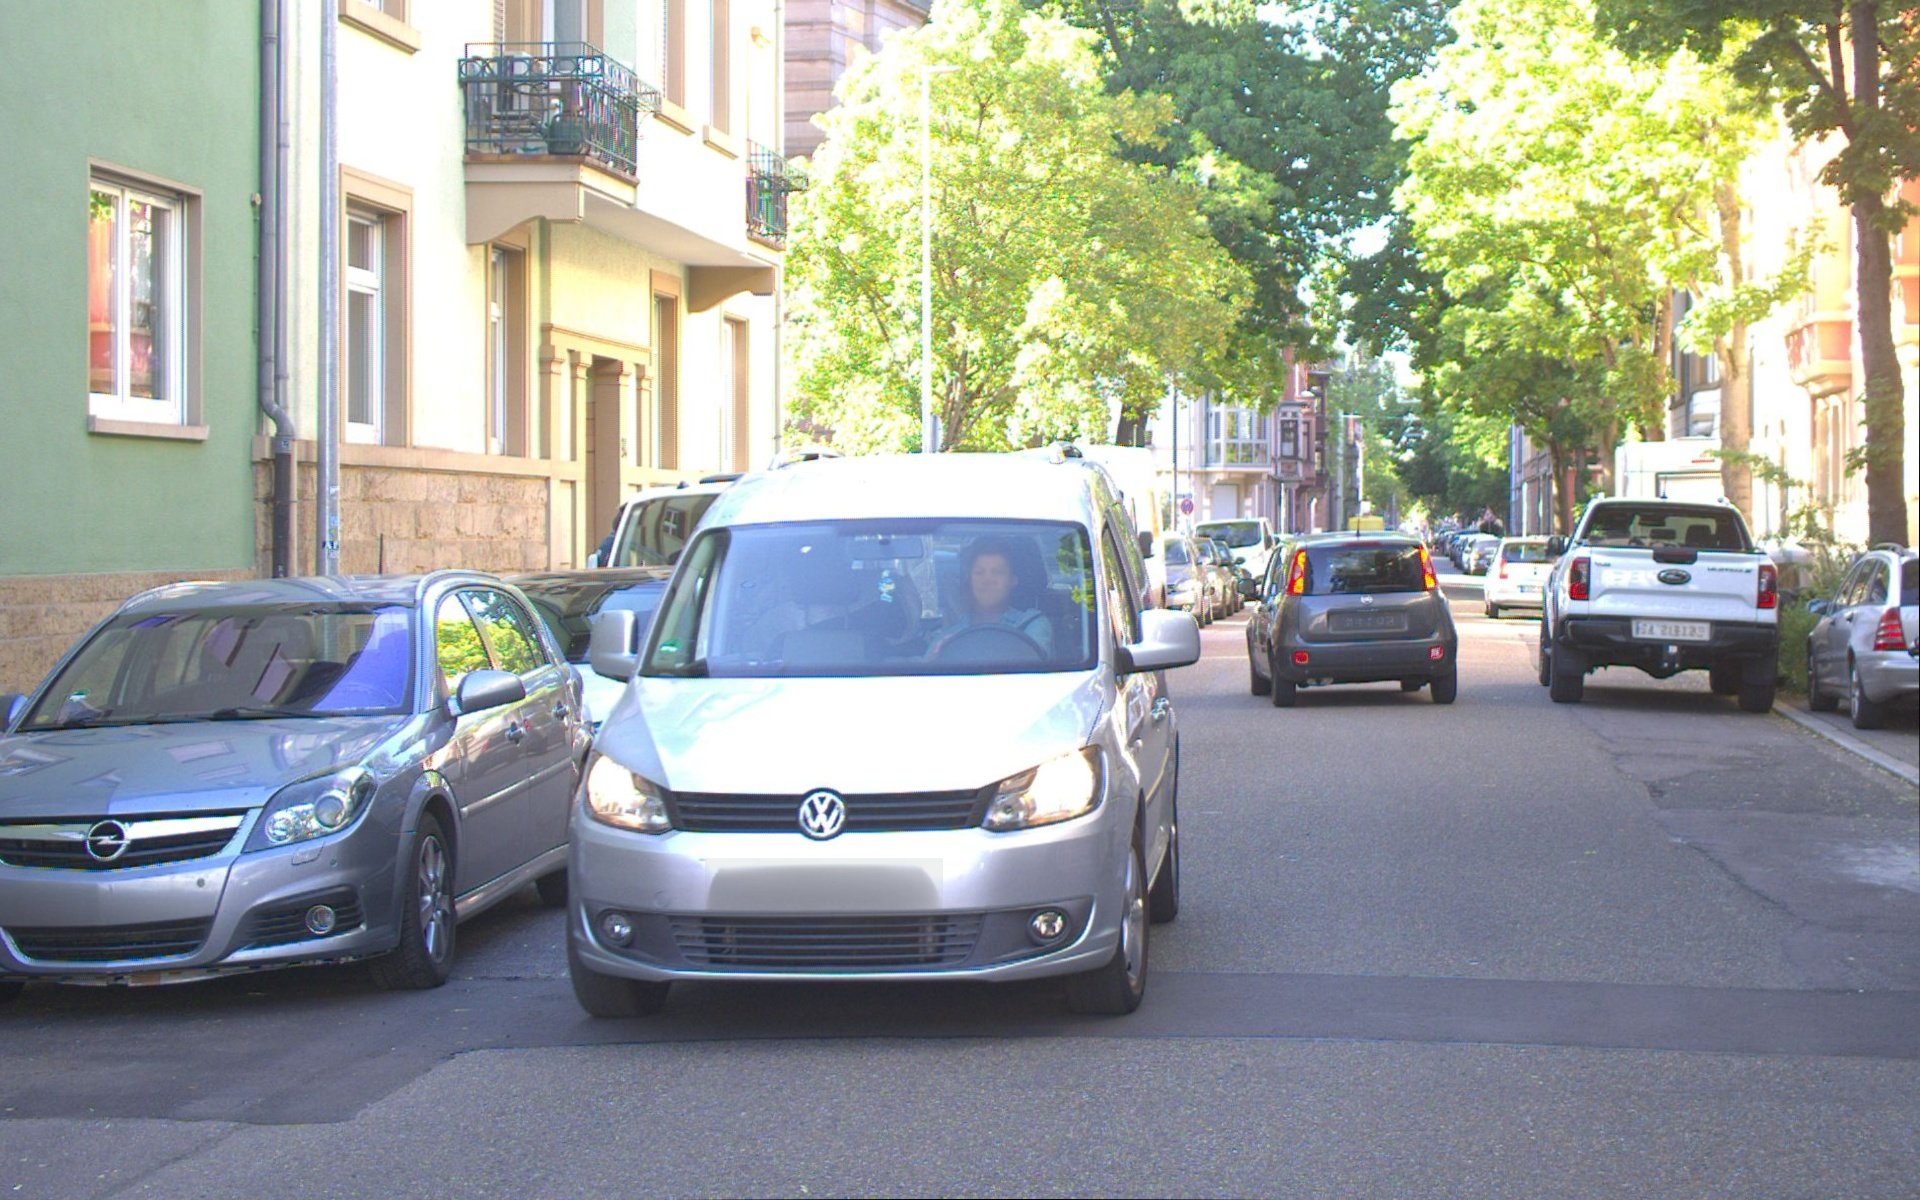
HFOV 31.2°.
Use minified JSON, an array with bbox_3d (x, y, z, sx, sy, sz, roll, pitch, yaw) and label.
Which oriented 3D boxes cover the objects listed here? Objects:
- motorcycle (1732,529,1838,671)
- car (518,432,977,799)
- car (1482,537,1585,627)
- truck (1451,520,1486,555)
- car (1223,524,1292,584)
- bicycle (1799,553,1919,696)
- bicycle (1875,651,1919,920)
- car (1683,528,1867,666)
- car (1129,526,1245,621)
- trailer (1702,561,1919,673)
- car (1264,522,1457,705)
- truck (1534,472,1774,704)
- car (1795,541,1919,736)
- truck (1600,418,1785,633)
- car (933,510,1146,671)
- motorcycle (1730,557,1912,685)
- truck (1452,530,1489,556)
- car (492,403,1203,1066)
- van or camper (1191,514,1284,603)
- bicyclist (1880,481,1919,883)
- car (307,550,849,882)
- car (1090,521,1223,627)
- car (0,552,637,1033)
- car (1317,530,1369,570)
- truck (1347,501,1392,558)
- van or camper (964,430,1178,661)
[{"bbox_3d":[8.957,-0.026,37.399,0.930,1.481,2.137,1,1,9],"label":"motorcycle"},{"bbox_3d":[-1.296,0.052,23.681,2.252,2.161,5.243,-2,1,6],"label":"car"},{"bbox_3d":[10.520,-0.357,63.248,1.679,1.539,3.799,1,1,7],"label":"car"},{"bbox_3d":[29.470,-3.652,199.299,1.994,1.985,3.999,0,1,8],"label":"truck"},{"bbox_3d":[8.530,-1.325,98.355,1.825,1.548,4.133,-4,1,6],"label":"car"},{"bbox_3d":[8.703,0.224,31.801,1.759,1.300,0.586,0,1,7],"label":"bicycle"},{"bbox_3d":[4.390,0.784,14.731,0.706,1.042,1.857,4,1,11],"label":"bicycle"},{"bbox_3d":[9.637,-0.079,40.911,1.751,1.524,4.780,-1,1,9],"label":"car"},{"bbox_3d":[4.124,-0.509,61.986,1.676,1.567,4.150,-3,1,9],"label":"car"},{"bbox_3d":[8.851,0.167,35.480,2.080,1.108,1.116,0,1,-6],"label":"trailer"},{"bbox_3d":[3.623,0.078,31.041,1.633,1.545,3.263,0,1,7],"label":"car"},{"bbox_3d":[6.331,-0.170,31.871,1.829,1.942,5.539,1,1,8],"label":"truck"},{"bbox_3d":[7.904,0.246,27.946,1.680,1.417,4.429,-1,1,7],"label":"car"},{"bbox_3d":[10.901,-1.116,51.566,2.074,2.958,6.108,-2,1,7],"label":"truck"},{"bbox_3d":[0.987,-0.158,39.391,1.876,1.679,4.968,-2,1,7],"label":"car"},{"bbox_3d":[8.557,0.197,34.154,1.759,1.236,0.702,0,1,-31],"label":"motorcycle"},{"bbox_3d":[28.778,-3.214,193.971,1.994,1.451,3.999,0,1,8],"label":"truck"},{"bbox_3d":[-0.175,0.360,11.966,1.771,1.837,4.415,-2,1,7],"label":"car"},{"bbox_3d":[6.710,-1.012,82.648,1.922,1.973,5.460,-3,1,7],"label":"van or camper"},{"bbox_3d":[4.422,0.354,14.835,0.715,1.683,0.981,3,1,10],"label":"bicyclist"},{"bbox_3d":[-1.847,0.510,18.073,1.833,1.457,4.362,-2,1,7],"label":"car"},{"bbox_3d":[3.237,-0.450,55.846,1.781,1.585,4.468,-2,1,7],"label":"car"},{"bbox_3d":[-2.516,0.589,13.095,1.720,1.457,4.506,-2,1,5],"label":"car"},{"bbox_3d":[14.997,-1.978,134.435,1.797,1.427,3.923,-3,1,9],"label":"car"},{"bbox_3d":[22.221,-3.824,186.515,2.071,2.916,5.066,-4,1,9],"label":"truck"},{"bbox_3d":[1.543,-0.725,45.127,2.129,2.759,5.850,-2,1,8],"label":"van or camper"}]
